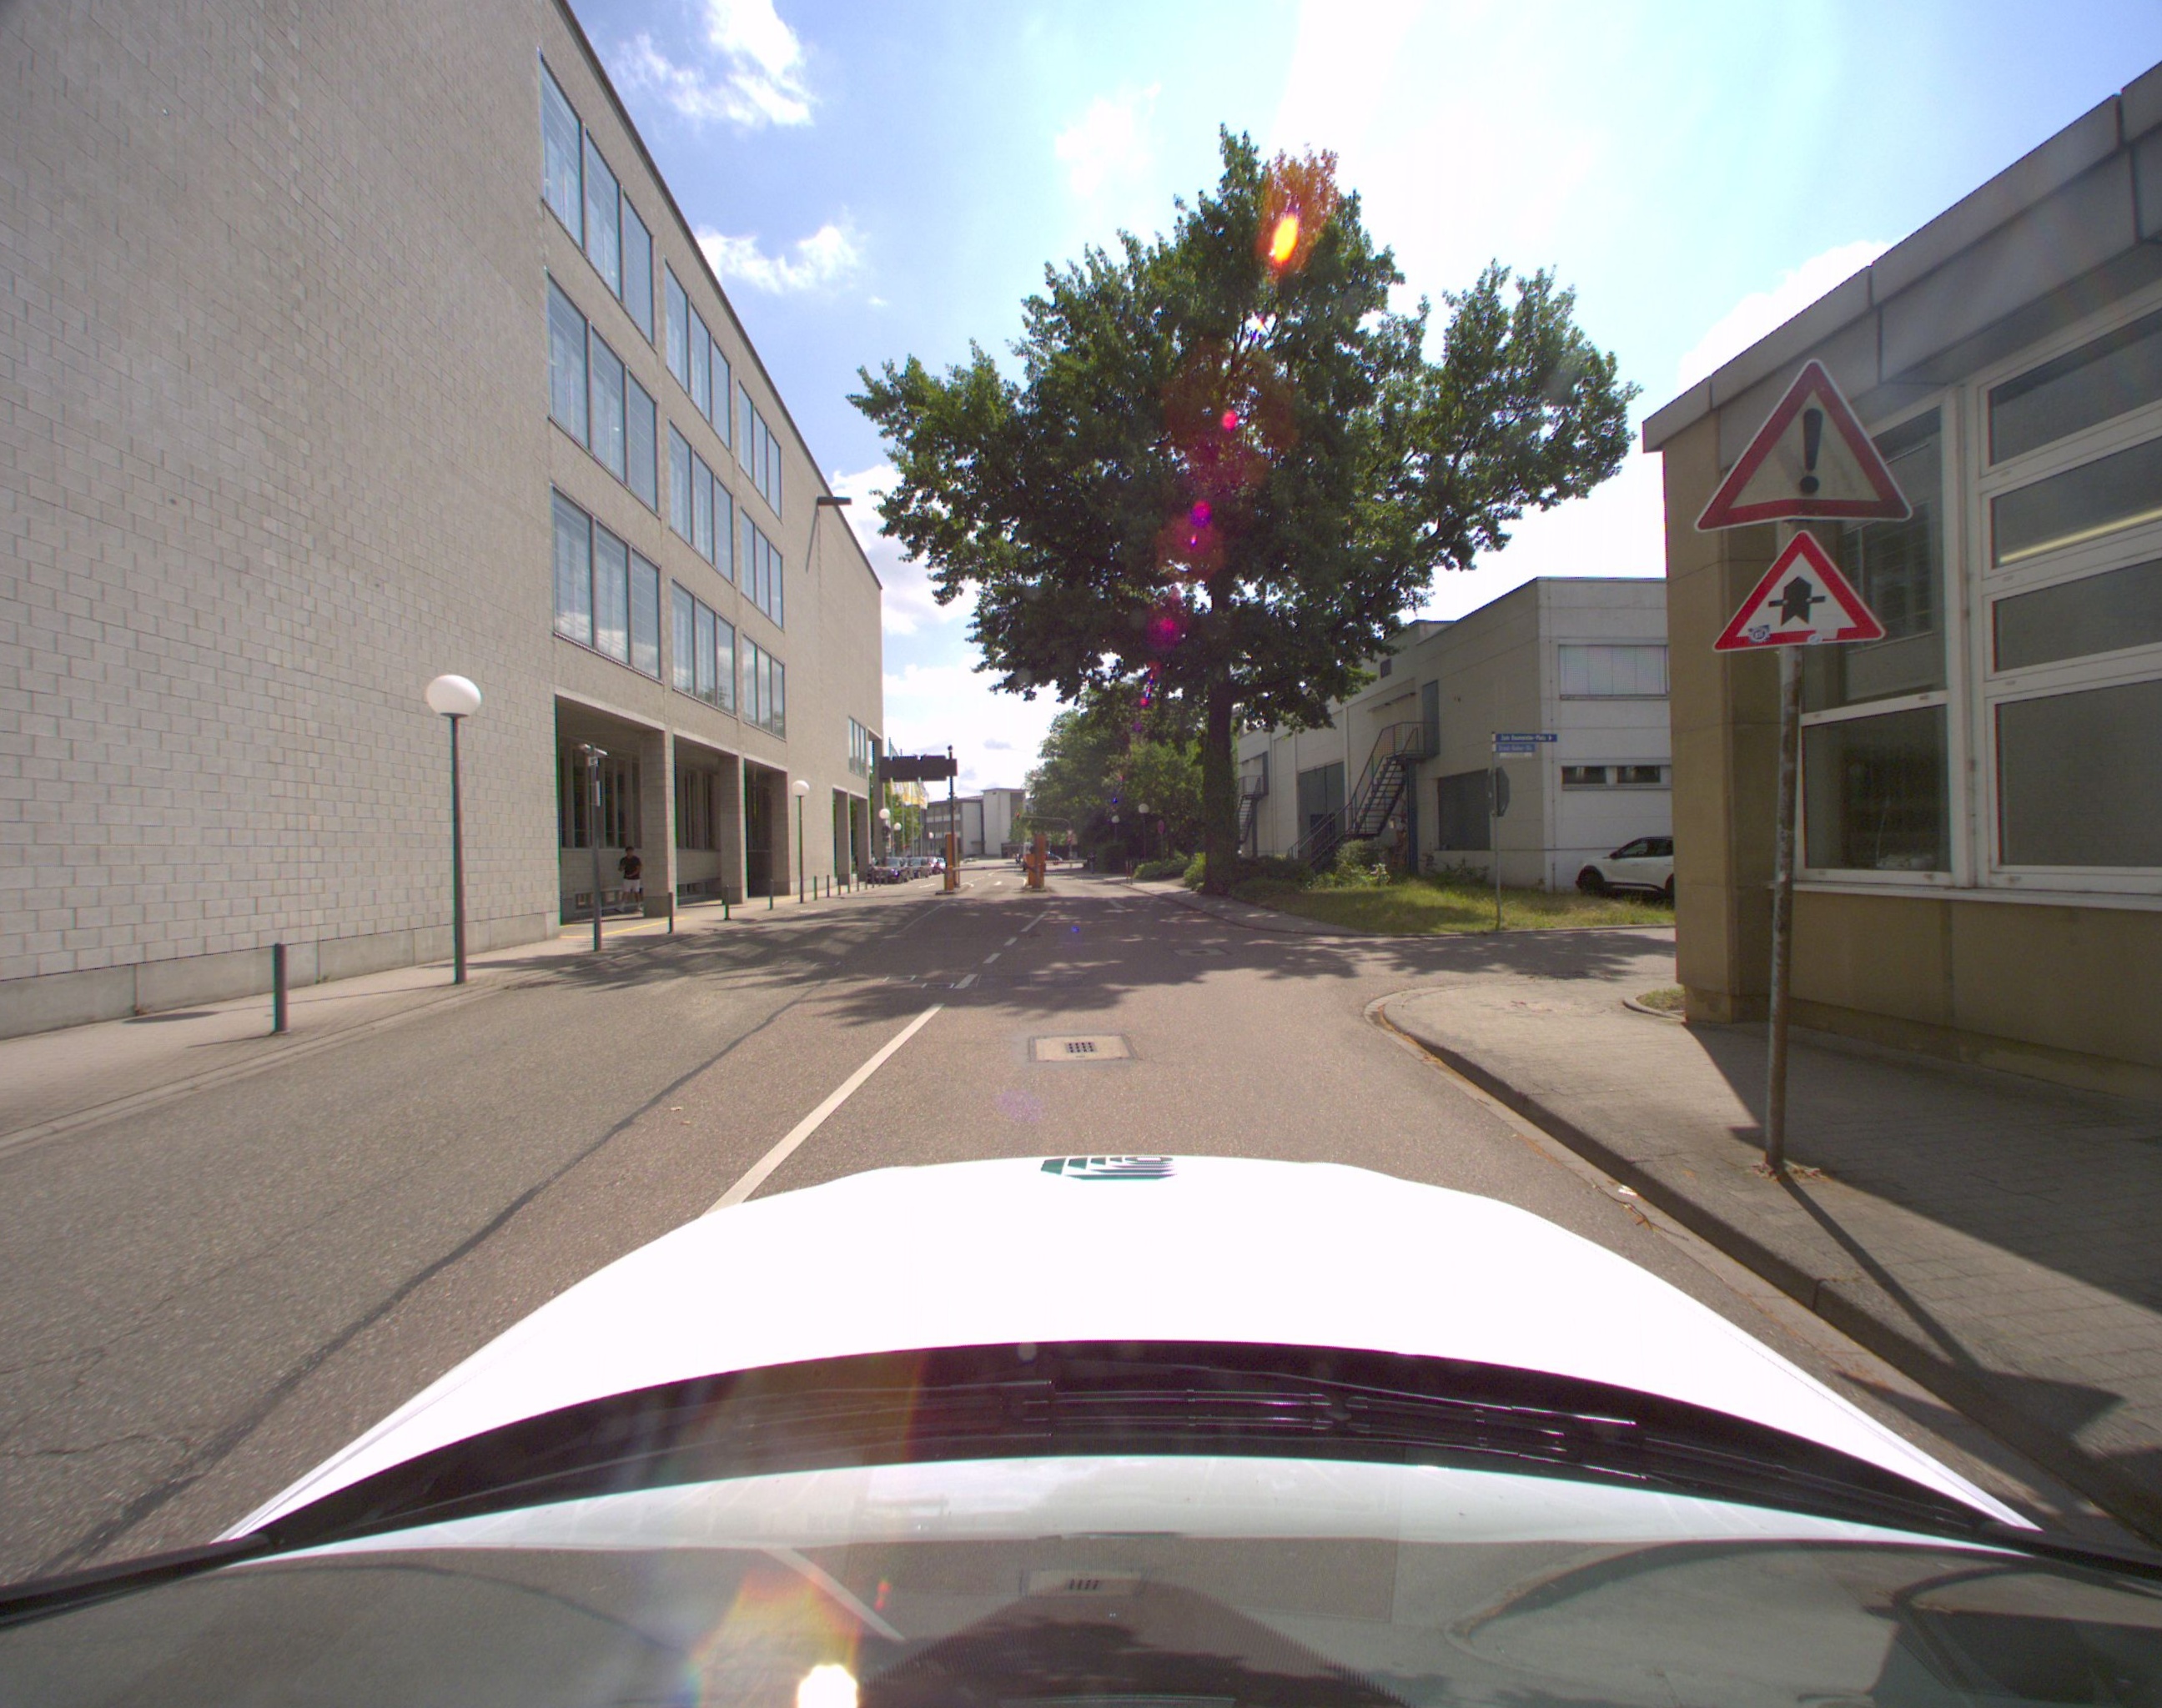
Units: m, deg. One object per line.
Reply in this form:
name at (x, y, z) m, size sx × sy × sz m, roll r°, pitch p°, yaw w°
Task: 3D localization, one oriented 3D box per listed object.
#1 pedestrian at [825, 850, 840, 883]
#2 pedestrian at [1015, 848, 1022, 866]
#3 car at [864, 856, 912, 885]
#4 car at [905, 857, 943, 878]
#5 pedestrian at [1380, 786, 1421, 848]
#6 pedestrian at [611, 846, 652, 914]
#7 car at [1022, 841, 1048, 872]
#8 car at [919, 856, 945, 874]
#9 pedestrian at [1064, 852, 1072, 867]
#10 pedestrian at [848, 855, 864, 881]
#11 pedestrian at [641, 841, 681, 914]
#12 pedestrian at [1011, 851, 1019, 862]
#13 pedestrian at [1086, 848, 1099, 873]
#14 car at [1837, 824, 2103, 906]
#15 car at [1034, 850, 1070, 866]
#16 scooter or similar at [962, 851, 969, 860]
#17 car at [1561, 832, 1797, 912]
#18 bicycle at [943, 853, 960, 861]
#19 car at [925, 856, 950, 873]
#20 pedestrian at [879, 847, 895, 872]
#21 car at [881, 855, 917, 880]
pedestrian at (-18.614, 0.954, 61.082) m, size 0.752 × 2.422 × 0.741 m, roll -1°, pitch 0°, yaw 13°
pedestrian at (-6.578, 0.301, 86.036) m, size 0.718 × 1.859 × 0.769 m, roll -1°, pitch 0°, yaw -3°
car at (-10.691, 0.869, 45.441) m, size 1.856 × 1.467 × 4.711 m, roll 1°, pitch 0°, yaw -4°
car at (-10.950, 0.914, 57.179) m, size 1.855 × 1.378 × 5.011 m, roll 1°, pitch 0°, yaw -2°
pedestrian at (10.643, -1.225, 27.144) m, size 0.924 × 2.013 × 0.949 m, roll -2°, pitch 0°, yaw -1°
pedestrian at (-12.620, 0.708, 22.880) m, size 0.729 × 1.880 × 0.719 m, roll -1°, pitch 0°, yaw -4°
car at (-4.144, 0.181, 72.042) m, size 2.092 × 2.566 × 5.593 m, roll -2°, pitch 1°, yaw -5°
car at (-12.459, 0.890, 68.210) m, size 1.673 × 1.467 × 3.906 m, roll 1°, pitch 0°, yaw -3°
pedestrian at (-1.368, 0.545, 86.047) m, size 0.731 × 1.575 × 0.773 m, roll 0°, pitch 0°, yaw -9°
pedestrian at (-17.493, 1.088, 63.249) m, size 0.983 × 2.013 × 1.161 m, roll -1°, pitch 0°, yaw -8°
pedestrian at (-11.843, 0.637, 22.990) m, size 0.697 × 2.013 × 0.829 m, roll -1°, pitch 0°, yaw -4°
pedestrian at (-11.437, 0.451, 141.922) m, size 1.133 × 2.013 × 1.159 m, roll -1°, pitch 0°, yaw 10°
pedestrian at (0.776, 0.438, 55.852) m, size 0.739 × 1.674 × 1.253 m, roll -1°, pitch 0°, yaw -7°
car at (18.987, 0.203, 17.642) m, size 1.624 × 1.552 × 3.614 m, roll -1°, pitch 0°, yaw -8°
car at (-3.436, 0.507, 96.640) m, size 4.072 × 1.747 × 1.725 m, roll -2°, pitch 0°, yaw -7°
scooter or similar at (-16.773, 0.228, 118.262) m, size 0.718 × 1.178 × 2.711 m, roll -1°, pitch 0°, yaw -15°
car at (12.588, 0.341, 17.532) m, size 1.666 × 1.477 × 4.171 m, roll -2°, pitch 0°, yaw -7°
bicycle at (-23.827, 0.553, 150.107) m, size 2.981 × 1.363 × 1.104 m, roll -1°, pitch 0°, yaw -42°
car at (-12.769, 0.906, 72.870) m, size 1.673 × 1.395 × 4.656 m, roll 1°, pitch 0°, yaw -3°
pedestrian at (-16.018, 0.487, 67.204) m, size 0.894 × 2.027 × 0.803 m, roll -1°, pitch 0°, yaw 25°
car at (-11.232, 0.804, 50.343) m, size 1.636 × 1.467 × 3.701 m, roll 1°, pitch 0°, yaw -4°
